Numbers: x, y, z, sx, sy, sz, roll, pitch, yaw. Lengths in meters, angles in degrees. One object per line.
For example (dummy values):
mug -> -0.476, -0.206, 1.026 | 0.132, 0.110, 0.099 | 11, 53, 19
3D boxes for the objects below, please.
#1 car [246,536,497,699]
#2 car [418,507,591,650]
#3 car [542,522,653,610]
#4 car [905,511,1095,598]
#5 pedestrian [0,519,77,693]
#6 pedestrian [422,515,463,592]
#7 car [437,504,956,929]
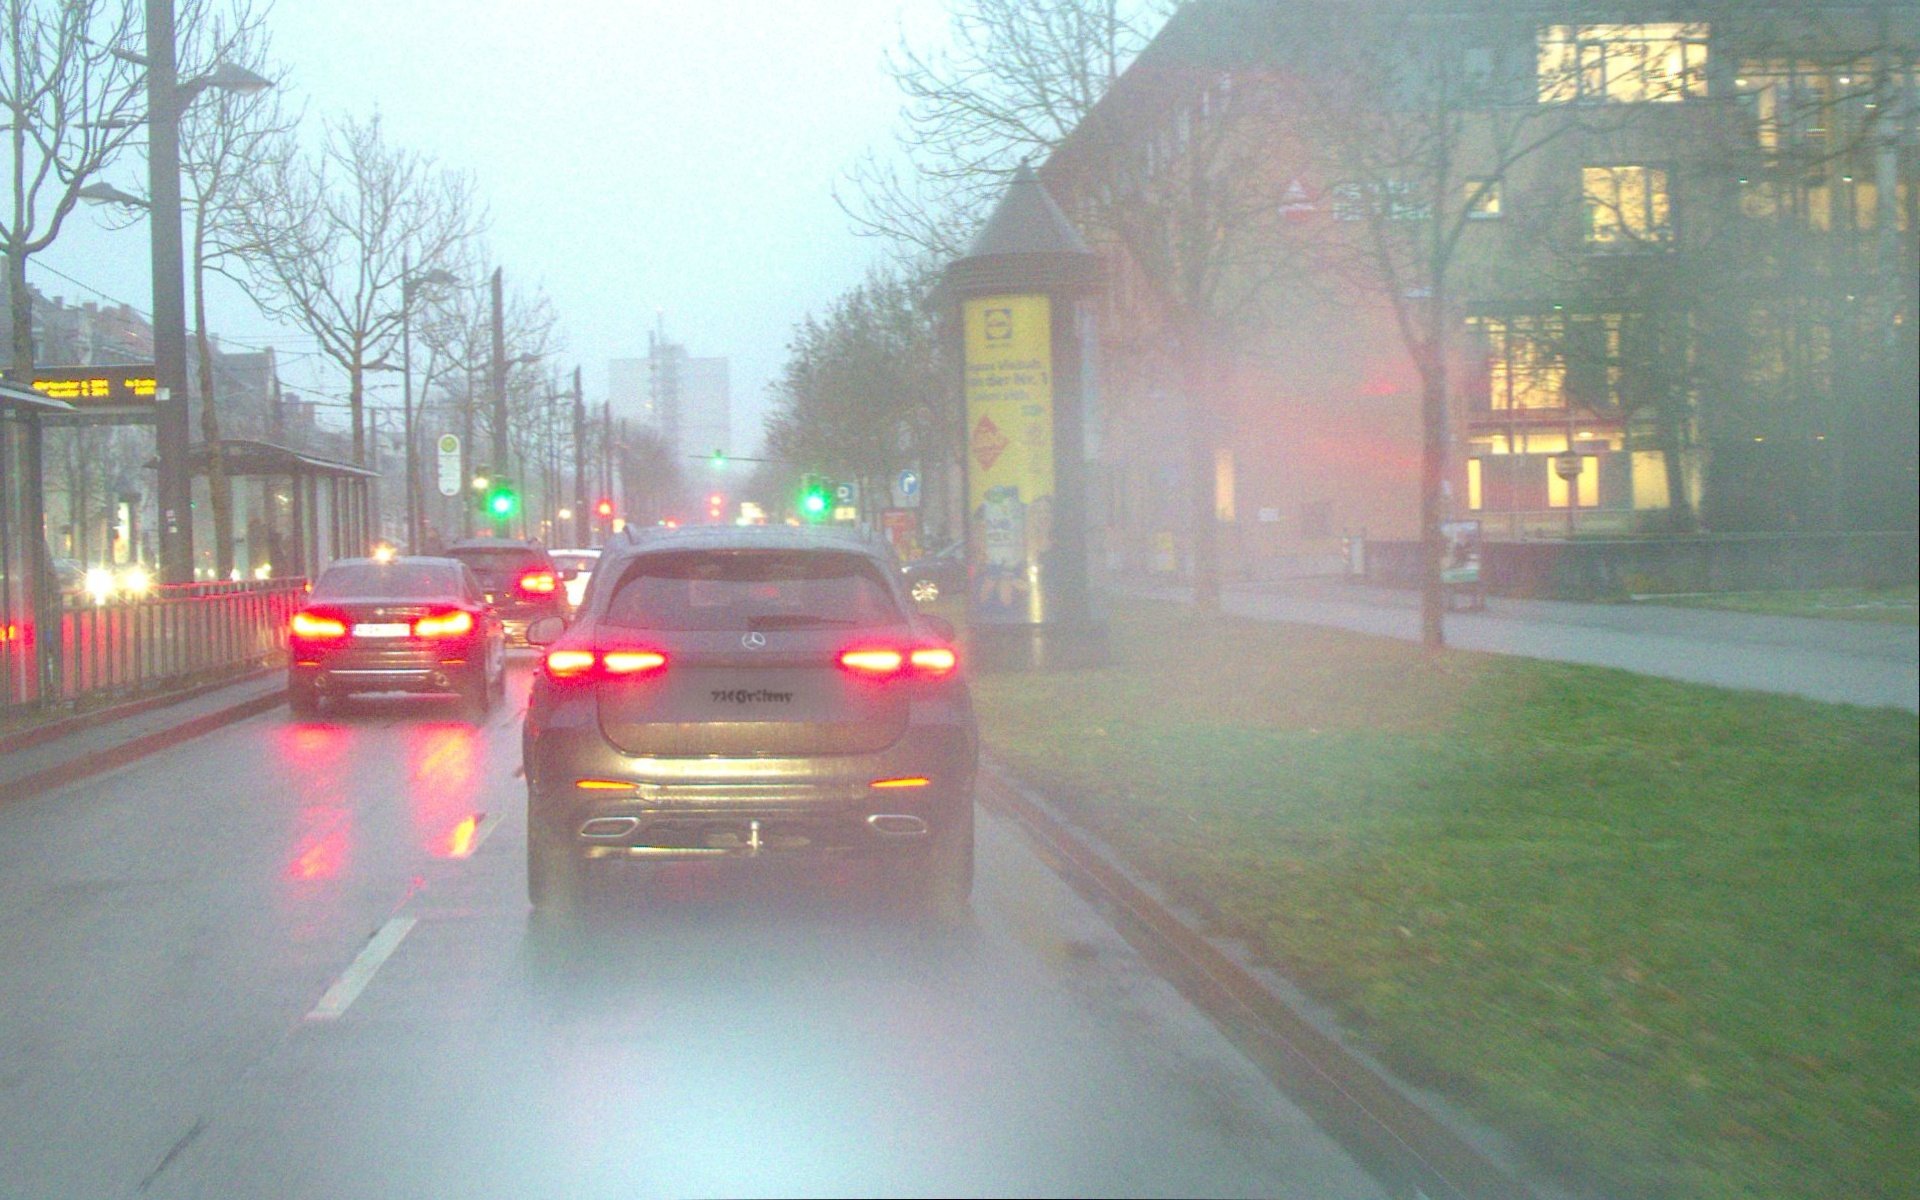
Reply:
car -> -5.604, 0.123, 33.209 | 1.993, 1.393, 4.001 | -2, 1, -5
car -> -6.038, -0.320, 45.966 | 1.993, 1.759, 4.001 | -2, 1, -4
car -> -7.092, -0.700, 67.551 | 1.993, 1.612, 4.001 | -2, 1, -4
car -> 0.836, -0.986, 73.607 | 3.859, 1.555, 1.766 | -4, 2, -2
pedestrian -> -8.657, 0.048, 32.205 | 0.710, 1.601, 0.747 | -1, 1, -12
pedestrian -> -10.575, -0.951, 70.270 | 0.698, 1.547, 0.669 | -2, 1, -4
car -> -1.156, 0.410, 15.588 | 1.990, 1.610, 4.001 | -2, 1, -3
